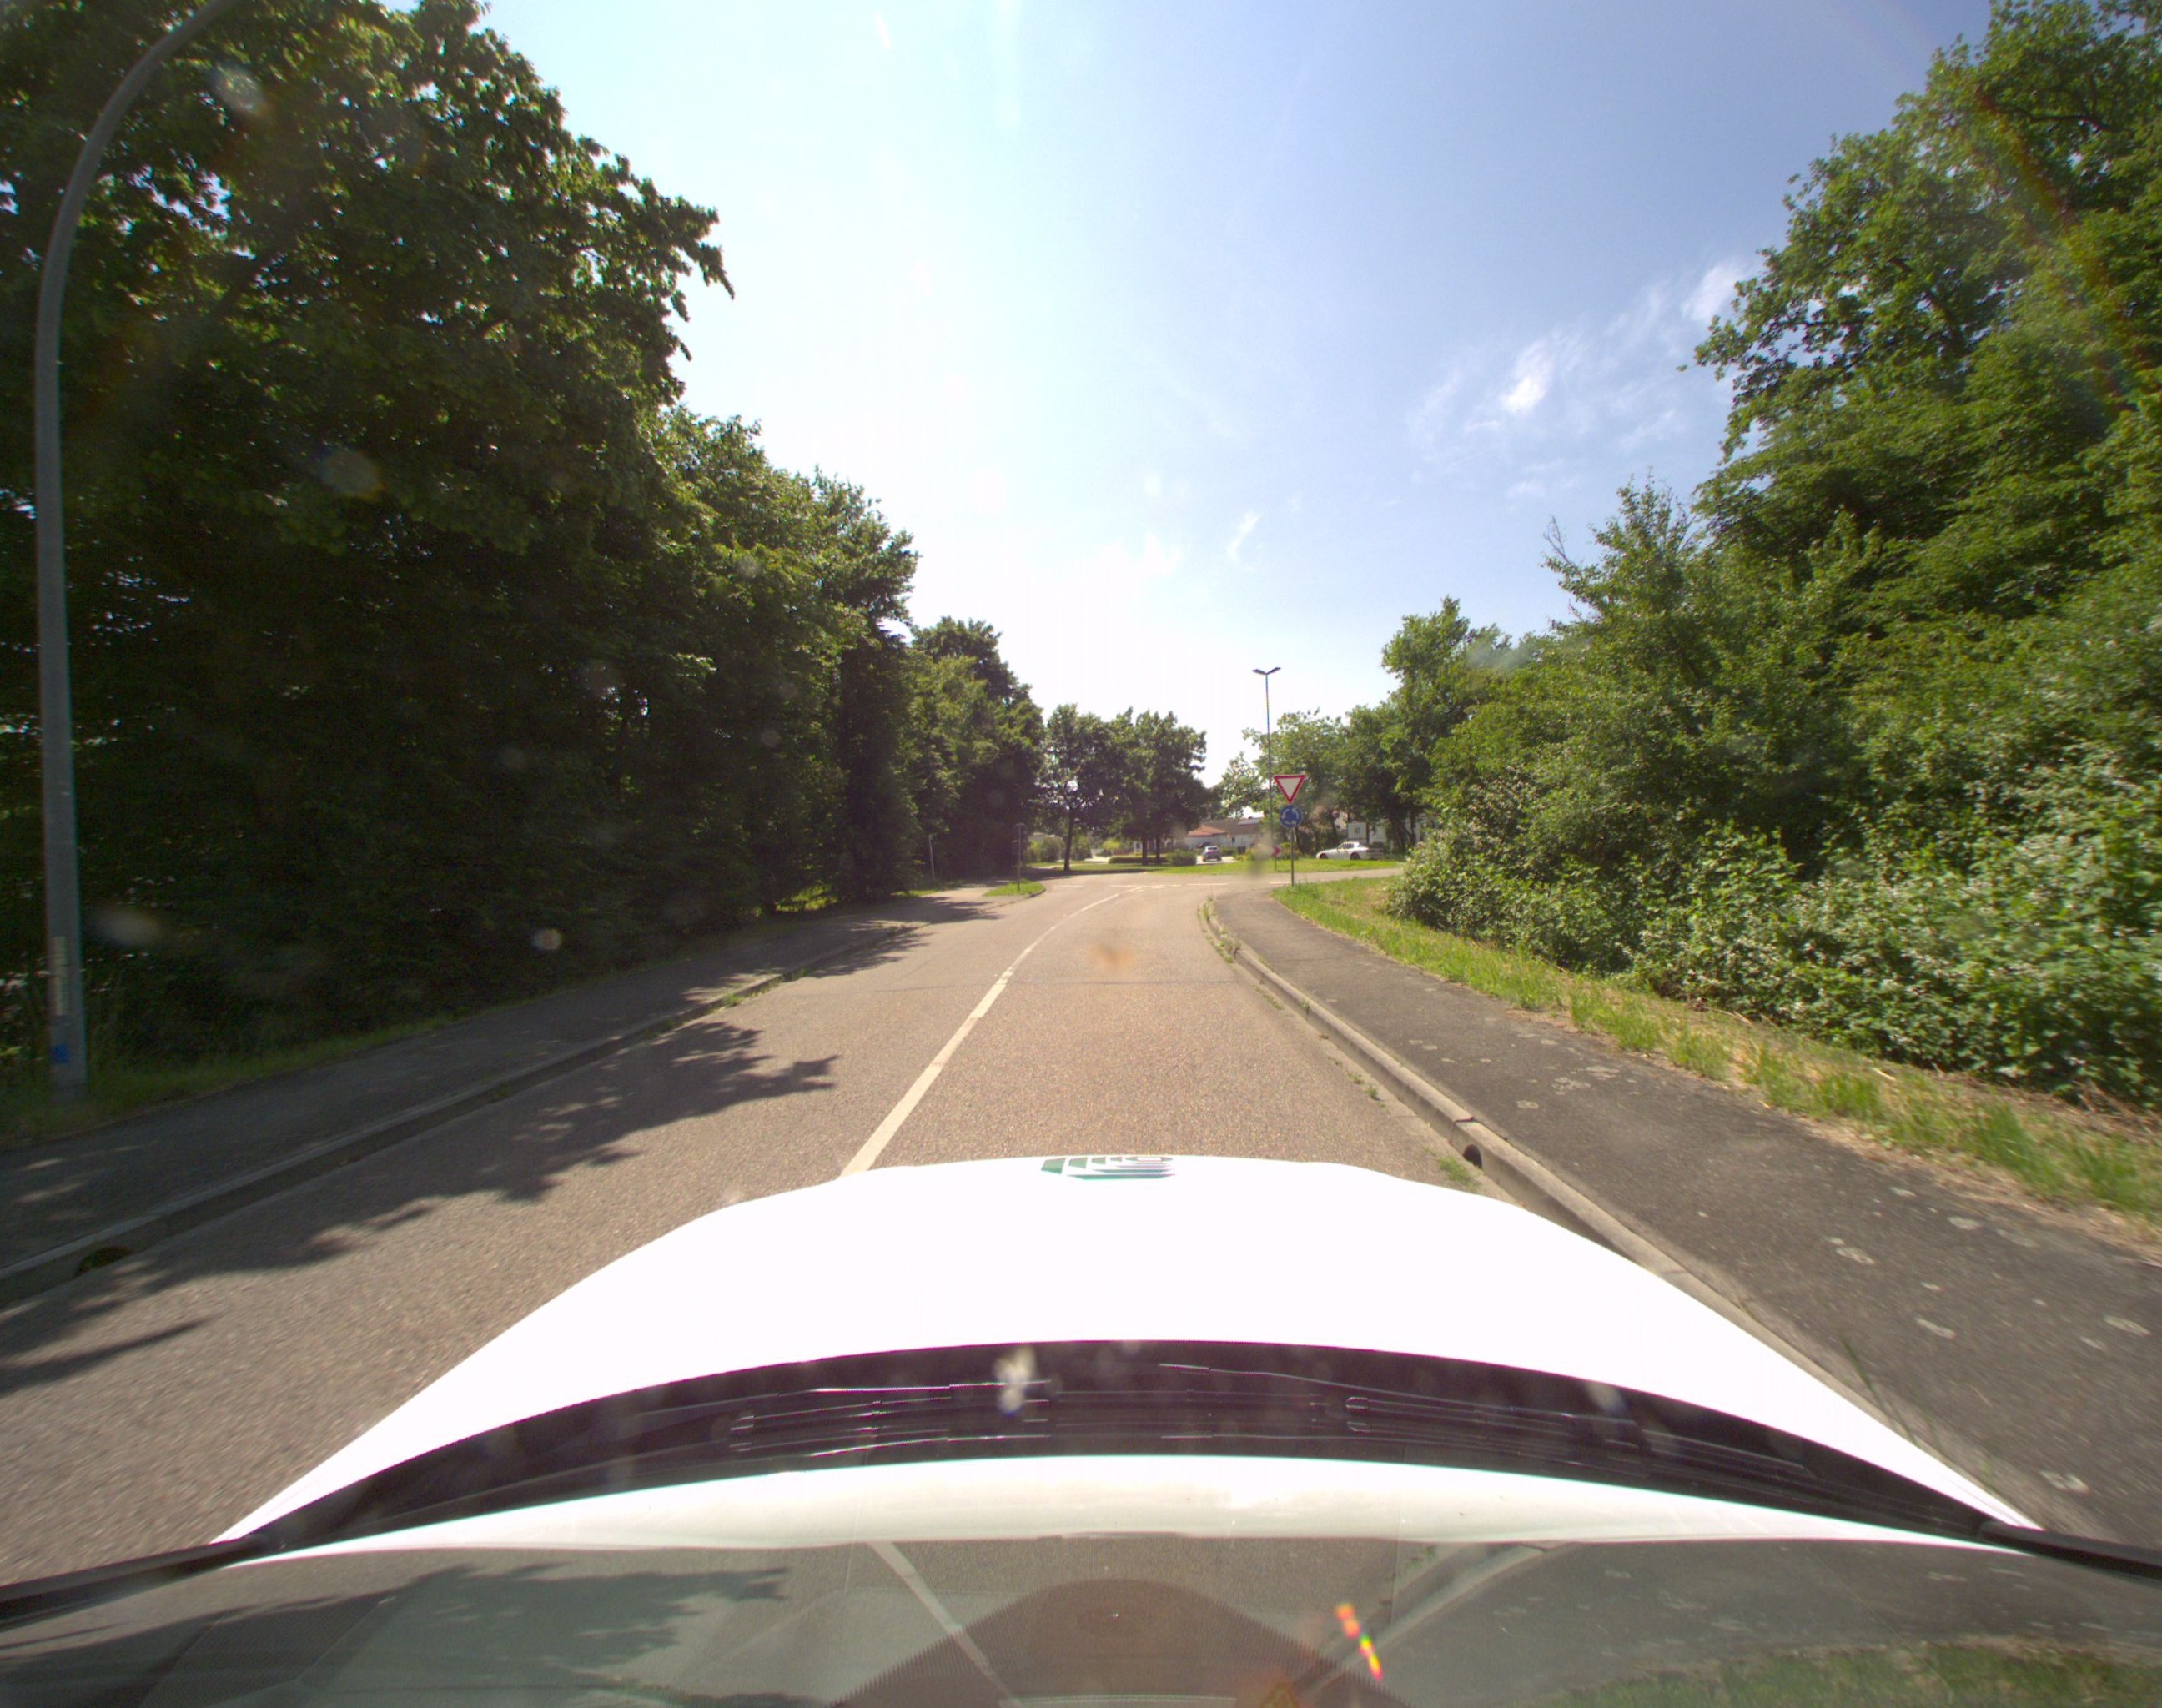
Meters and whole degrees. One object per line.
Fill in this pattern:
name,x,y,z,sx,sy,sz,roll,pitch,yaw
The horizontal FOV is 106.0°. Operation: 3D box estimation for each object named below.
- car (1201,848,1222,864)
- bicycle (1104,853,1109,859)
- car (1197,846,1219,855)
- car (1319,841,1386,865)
car,12.774,0.185,79.886,1.622,1.486,4.003,-3,0,3
bicycle,3.921,0.315,125.269,0.595,0.929,1.620,-2,0,1
car,23.563,-0.729,150.930,3.857,1.542,1.832,-2,0,-41
car,16.045,-0.040,48.204,1.625,1.288,3.521,-2,0,-32
